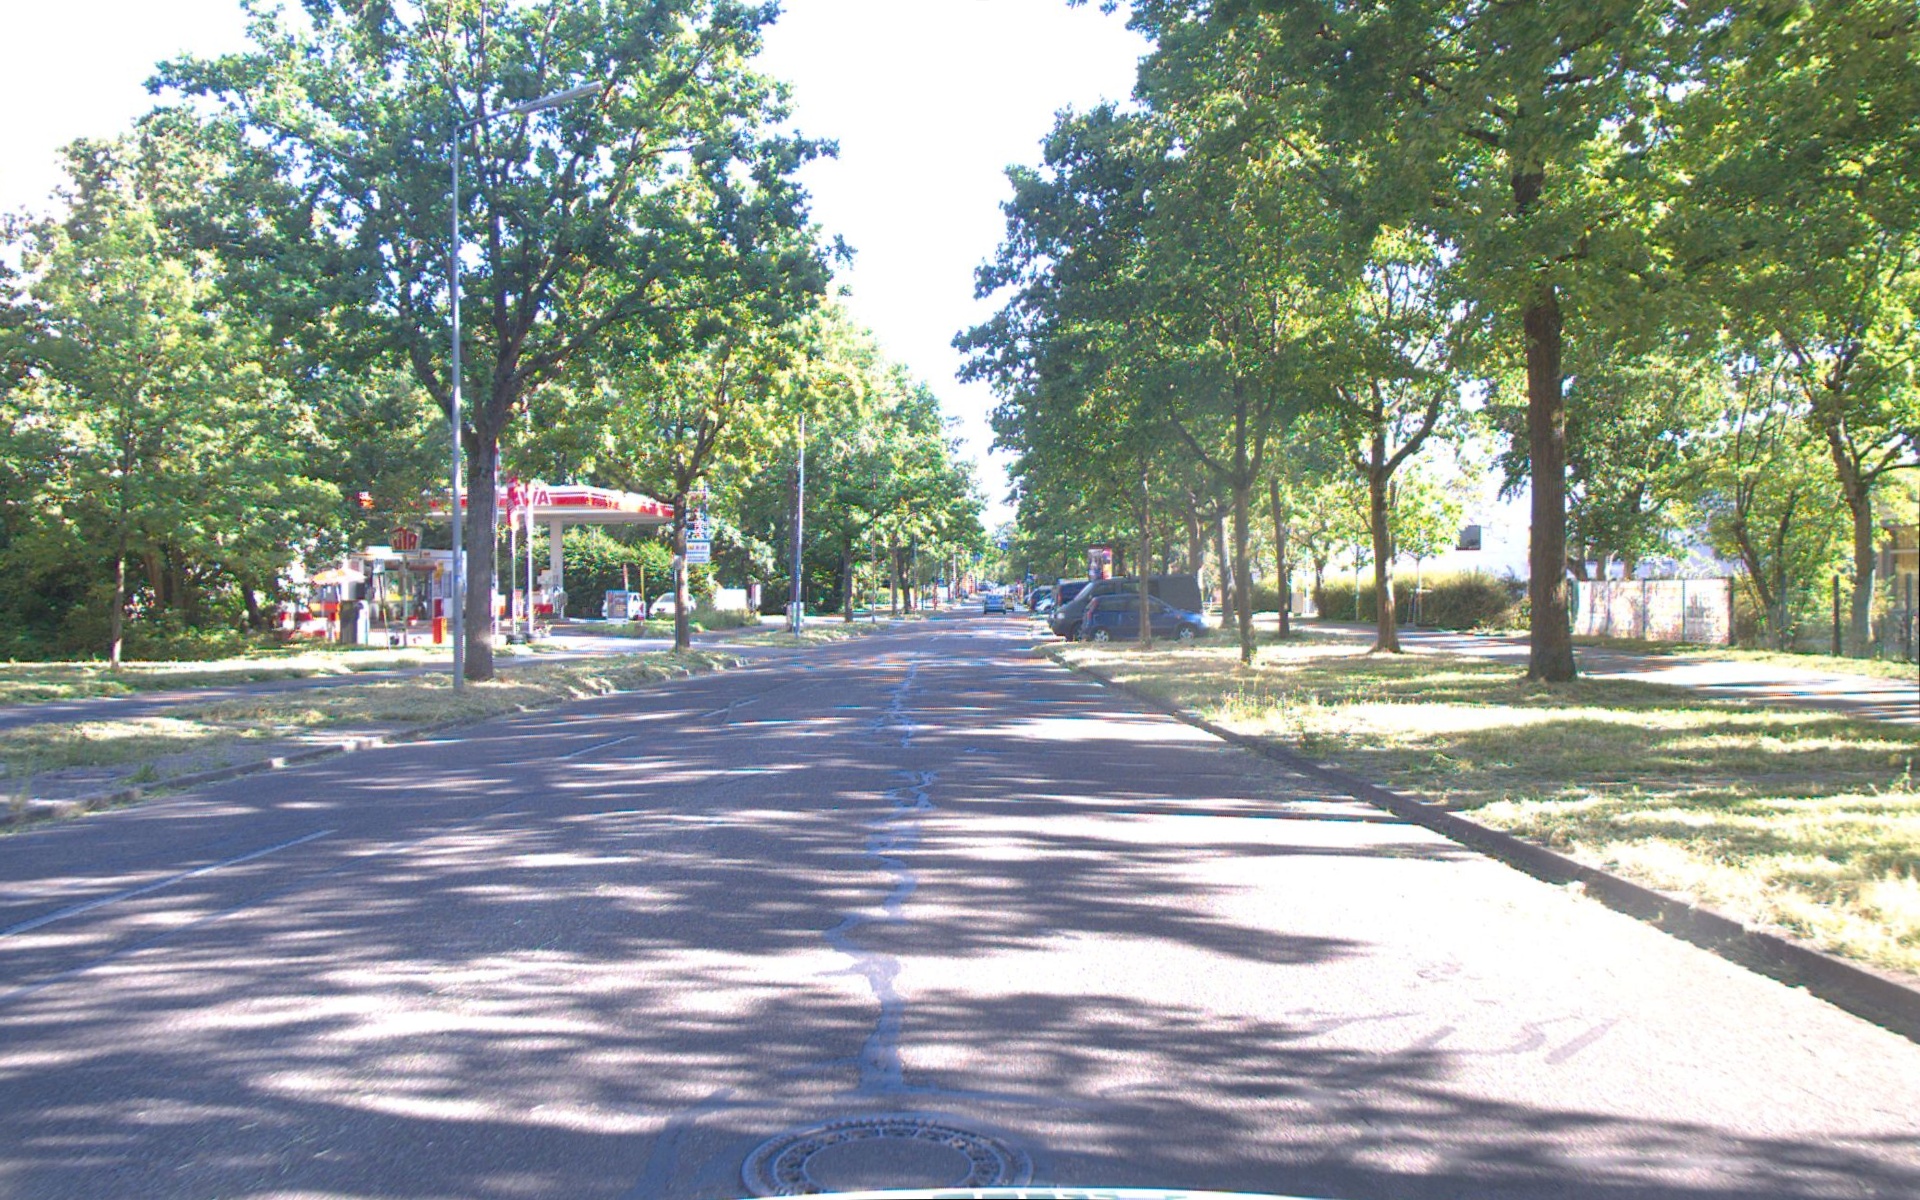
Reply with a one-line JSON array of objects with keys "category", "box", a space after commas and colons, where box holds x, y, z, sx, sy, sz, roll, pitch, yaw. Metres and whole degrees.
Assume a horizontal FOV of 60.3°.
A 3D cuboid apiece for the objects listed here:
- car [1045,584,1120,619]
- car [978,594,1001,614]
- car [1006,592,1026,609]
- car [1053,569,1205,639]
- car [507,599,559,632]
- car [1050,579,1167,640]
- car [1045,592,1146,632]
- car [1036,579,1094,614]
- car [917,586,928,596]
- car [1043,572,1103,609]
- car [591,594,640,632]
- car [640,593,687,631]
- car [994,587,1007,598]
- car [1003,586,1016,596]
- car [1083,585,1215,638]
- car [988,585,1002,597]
[{"category": "car", "box": [5.963, 0.068, 80.709, 3.578, 1.590, 1.317, -1, -1, 0]}, {"category": "car", "box": [2.143, 0.307, 121.864, 1.627, 1.360, 3.665, -1, -1, 0]}, {"category": "car", "box": [4.807, 0.017, 141.785, 1.627, 1.360, 3.665, -1, -1, 0]}, {"category": "car", "box": [5.065, 0.120, 50.006, 4.410, 1.987, 1.687, -1, -1, 0]}, {"category": "car", "box": [-22.707, 0.834, 88.097, 1.764, 1.649, 3.804, -1, -1, 0]}, {"category": "car", "box": [4.704, 0.304, 52.498, 3.578, 1.829, 1.317, -1, -1, 0]}, {"category": "car", "box": [4.925, 0.445, 60.524, 3.578, 1.353, 1.317, -1, -1, 0]}, {"category": "car", "box": [6.486, -0.213, 102.373, 3.494, 2.087, 1.575, -1, -1, 1]}, {"category": "car", "box": [-5.795, -1.335, 258.155, 1.612, 1.451, 3.999, -1, -1, -1]}, {"category": "car", "box": [6.814, -0.559, 99.730, 3.494, 2.087, 1.633, -1, -1, 1]}, {"category": "car", "box": [-17.913, 0.697, 86.182, 1.764, 1.855, 3.804, -1, -1, -1]}, {"category": "car", "box": [-15.413, 0.643, 86.179, 1.764, 1.855, 3.804, -1, -1, -1]}, {"category": "car", "box": [5.607, -1.035, 229.043, 1.627, 1.360, 3.665, -1, -1, 0]}, {"category": "car", "box": [7.292, -1.344, 243.320, 1.700, 1.360, 3.665, -1, -1, 0]}, {"category": "car", "box": [5.347, 0.335, 47.019, 3.578, 1.422, 1.317, -1, -1, 0]}, {"category": "car", "box": [4.383, -1.094, 206.628, 1.627, 1.360, 3.665, -1, -1, 0]}]
